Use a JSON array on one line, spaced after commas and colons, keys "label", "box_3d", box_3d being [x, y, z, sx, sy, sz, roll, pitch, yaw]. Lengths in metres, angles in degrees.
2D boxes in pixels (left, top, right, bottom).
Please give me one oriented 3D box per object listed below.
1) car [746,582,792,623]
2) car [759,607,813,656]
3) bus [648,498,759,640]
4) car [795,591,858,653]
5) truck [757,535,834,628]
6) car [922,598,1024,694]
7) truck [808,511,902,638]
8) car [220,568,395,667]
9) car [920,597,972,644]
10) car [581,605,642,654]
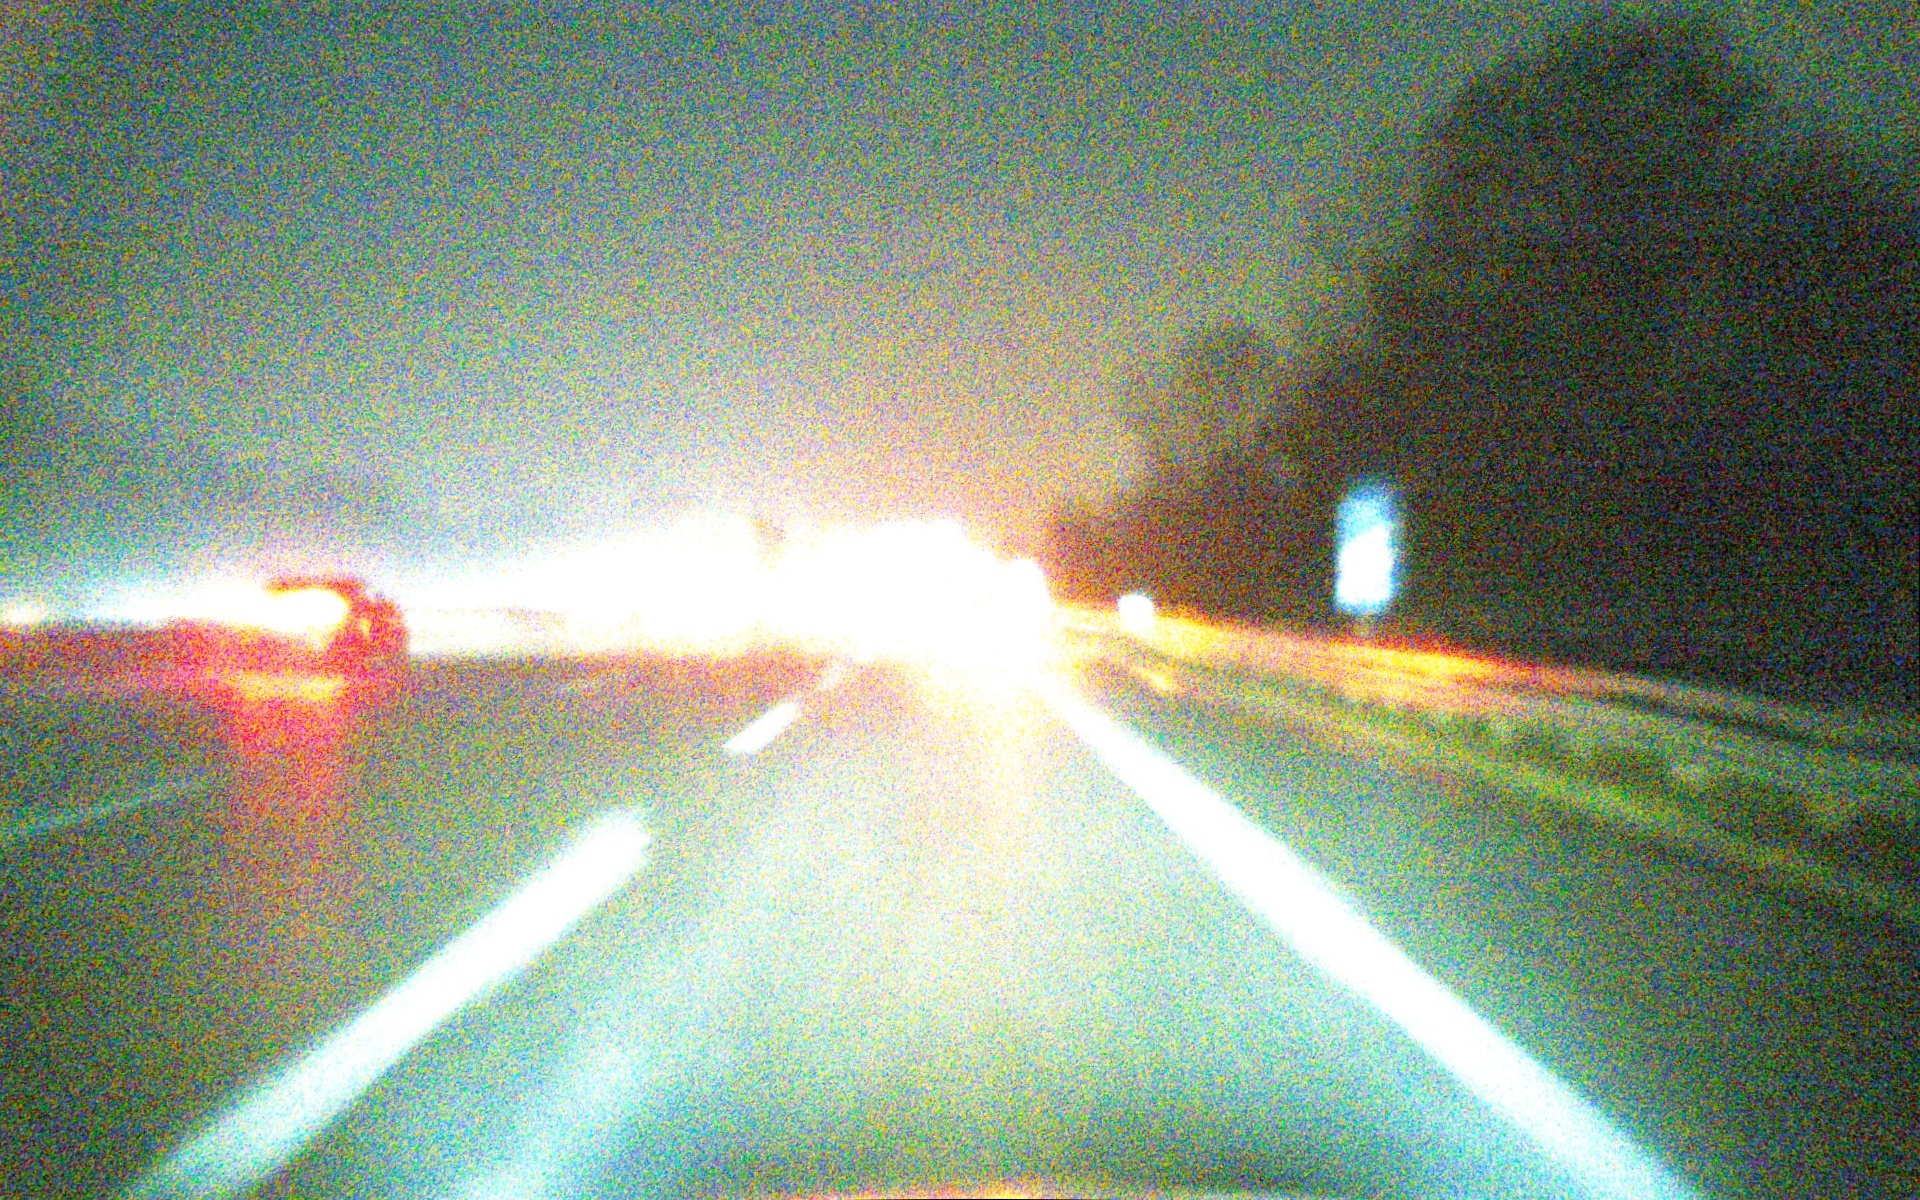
[{"label": "car", "box_3d": [-8.984, 0.141, 77.932, 1.954, 1.839, 3.996, 1, 0, -4]}, {"label": "car", "box_3d": [-6.868, 1.203, 65.474, 1.954, 1.839, 3.996, 1, 0, -4]}, {"label": "bus", "box_3d": [-9.093, -1.004, 59.794, 3.036, 4.587, 10.902, 1, 0, -4]}, {"label": "car", "box_3d": [-4.670, 0.758, 58.347, 2.084, 2.049, 4.642, 1, 0, -3]}, {"label": "truck", "box_3d": [-10.664, -1.128, 108.627, 4.125, 5.747, 11.463, 1, 0, -2]}, {"label": "car", "box_3d": [0.217, 0.903, 34.301, 1.953, 1.839, 3.999, 1, 0, -1]}, {"label": "truck", "box_3d": [-5.046, -1.147, 81.933, 4.125, 5.747, 11.463, 1, 0, -2]}, {"label": "car", "box_3d": [-11.566, 0.298, 29.601, 1.956, 1.624, 3.993, 1, 0, -8]}, {"label": "car", "box_3d": [-0.662, 0.916, 75.160, 2.084, 2.049, 4.642, 1, 0, -3]}, {"label": "car", "box_3d": [-12.533, 1.054, 59.666, 1.661, 1.679, 3.836, 1, 0, -5]}]
